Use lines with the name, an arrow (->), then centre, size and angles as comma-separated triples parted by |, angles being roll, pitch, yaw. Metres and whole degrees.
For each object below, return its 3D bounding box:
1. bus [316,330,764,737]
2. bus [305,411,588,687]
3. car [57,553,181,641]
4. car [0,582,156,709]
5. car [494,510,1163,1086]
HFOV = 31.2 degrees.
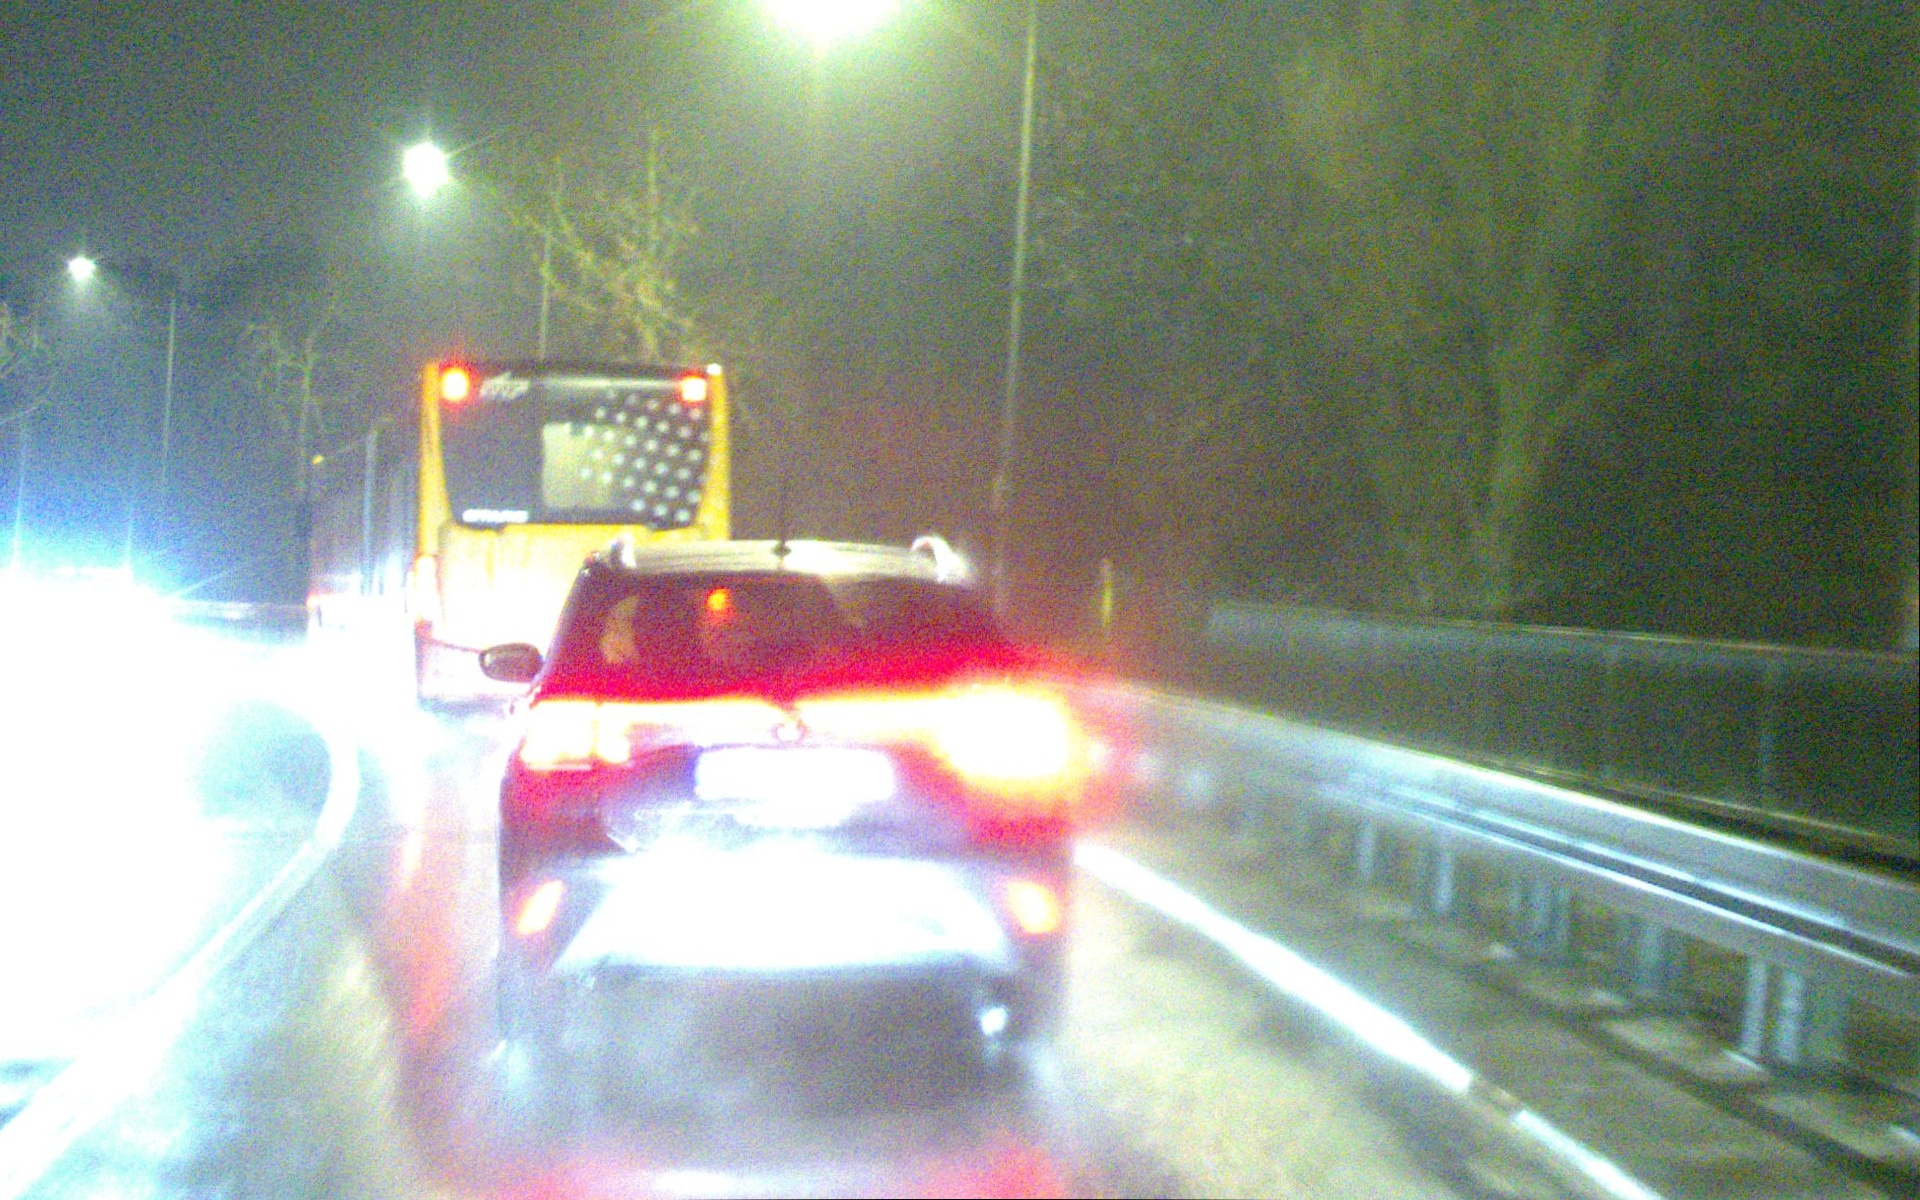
bus -> -4.399, -0.624, 32.866 | 3.082, 3.122, 12.701 | -1, 1, -12
bus -> -6.587, -0.774, 43.106 | 3.048, 3.121, 8.082 | 0, 3, -12
car -> -16.920, -0.036, 69.085 | 1.636, 1.650, 3.710 | -1, -1, -26
car -> -12.176, 0.588, 47.308 | 1.897, 1.561, 4.736 | 0, 1, -10
car -> -0.596, 0.527, 11.528 | 1.855, 1.581, 4.001 | 0, 1, -7
